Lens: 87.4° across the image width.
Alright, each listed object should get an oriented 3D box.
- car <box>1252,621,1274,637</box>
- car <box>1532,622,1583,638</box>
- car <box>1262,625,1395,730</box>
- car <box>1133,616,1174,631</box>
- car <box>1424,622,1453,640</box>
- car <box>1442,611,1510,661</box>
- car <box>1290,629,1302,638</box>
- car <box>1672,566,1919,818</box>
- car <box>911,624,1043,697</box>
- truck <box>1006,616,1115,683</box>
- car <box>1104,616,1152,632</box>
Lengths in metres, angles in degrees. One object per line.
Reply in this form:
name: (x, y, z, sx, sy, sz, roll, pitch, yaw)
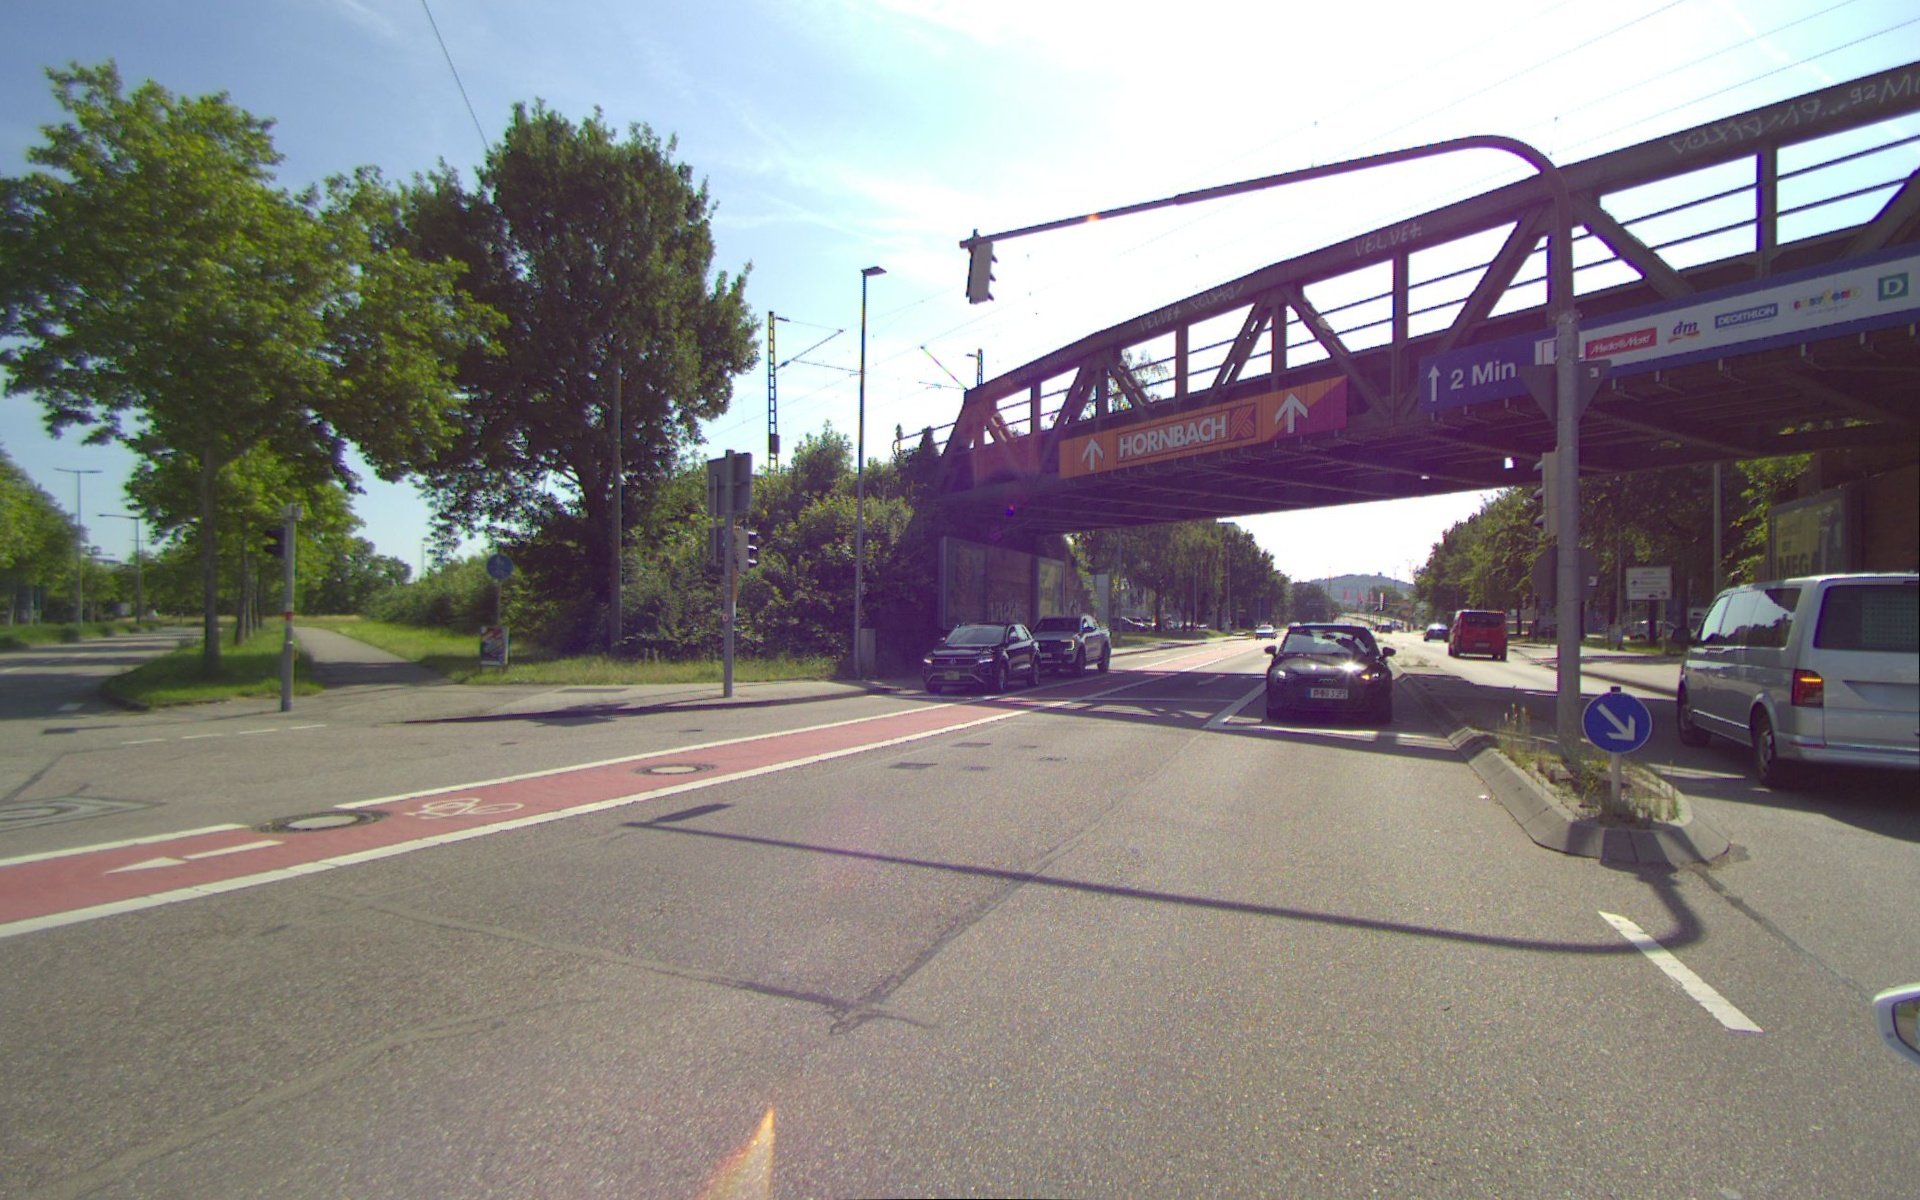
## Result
car: (30.053, 2.889, 99.520, 1.935, 1.512, 4.083, 0, -1, 18)
car: (53.707, 2.673, 90.363, 3.739, 1.435, 1.701, 0, -1, 23)
car: (5.822, 1.107, 15.971, 1.736, 1.413, 4.335, 0, -1, 20)
car: (20.589, 2.446, 106.640, 4.166, 1.568, 1.867, 0, -1, 15)
car: (39.069, 2.514, 82.113, 1.757, 1.415, 4.325, 0, -1, 20)
car: (21.476, 1.447, 41.968, 1.936, 1.950, 4.560, 0, -1, 20)
car: (57.754, 5.747, 172.580, 1.935, 1.512, 4.083, 0, -1, 18)
car: (8.824, 0.745, 10.126, 1.912, 1.998, 5.016, 1, 0, 27)
car: (0.491, 1.336, 23.065, 1.788, 1.500, 3.943, -2, -2, 20)
truck: (3.188, 1.439, 30.803, 1.993, 1.843, 5.325, -2, -2, 20)
car: (15.388, 2.178, 92.061, 4.166, 1.362, 2.001, 0, -1, 15)
